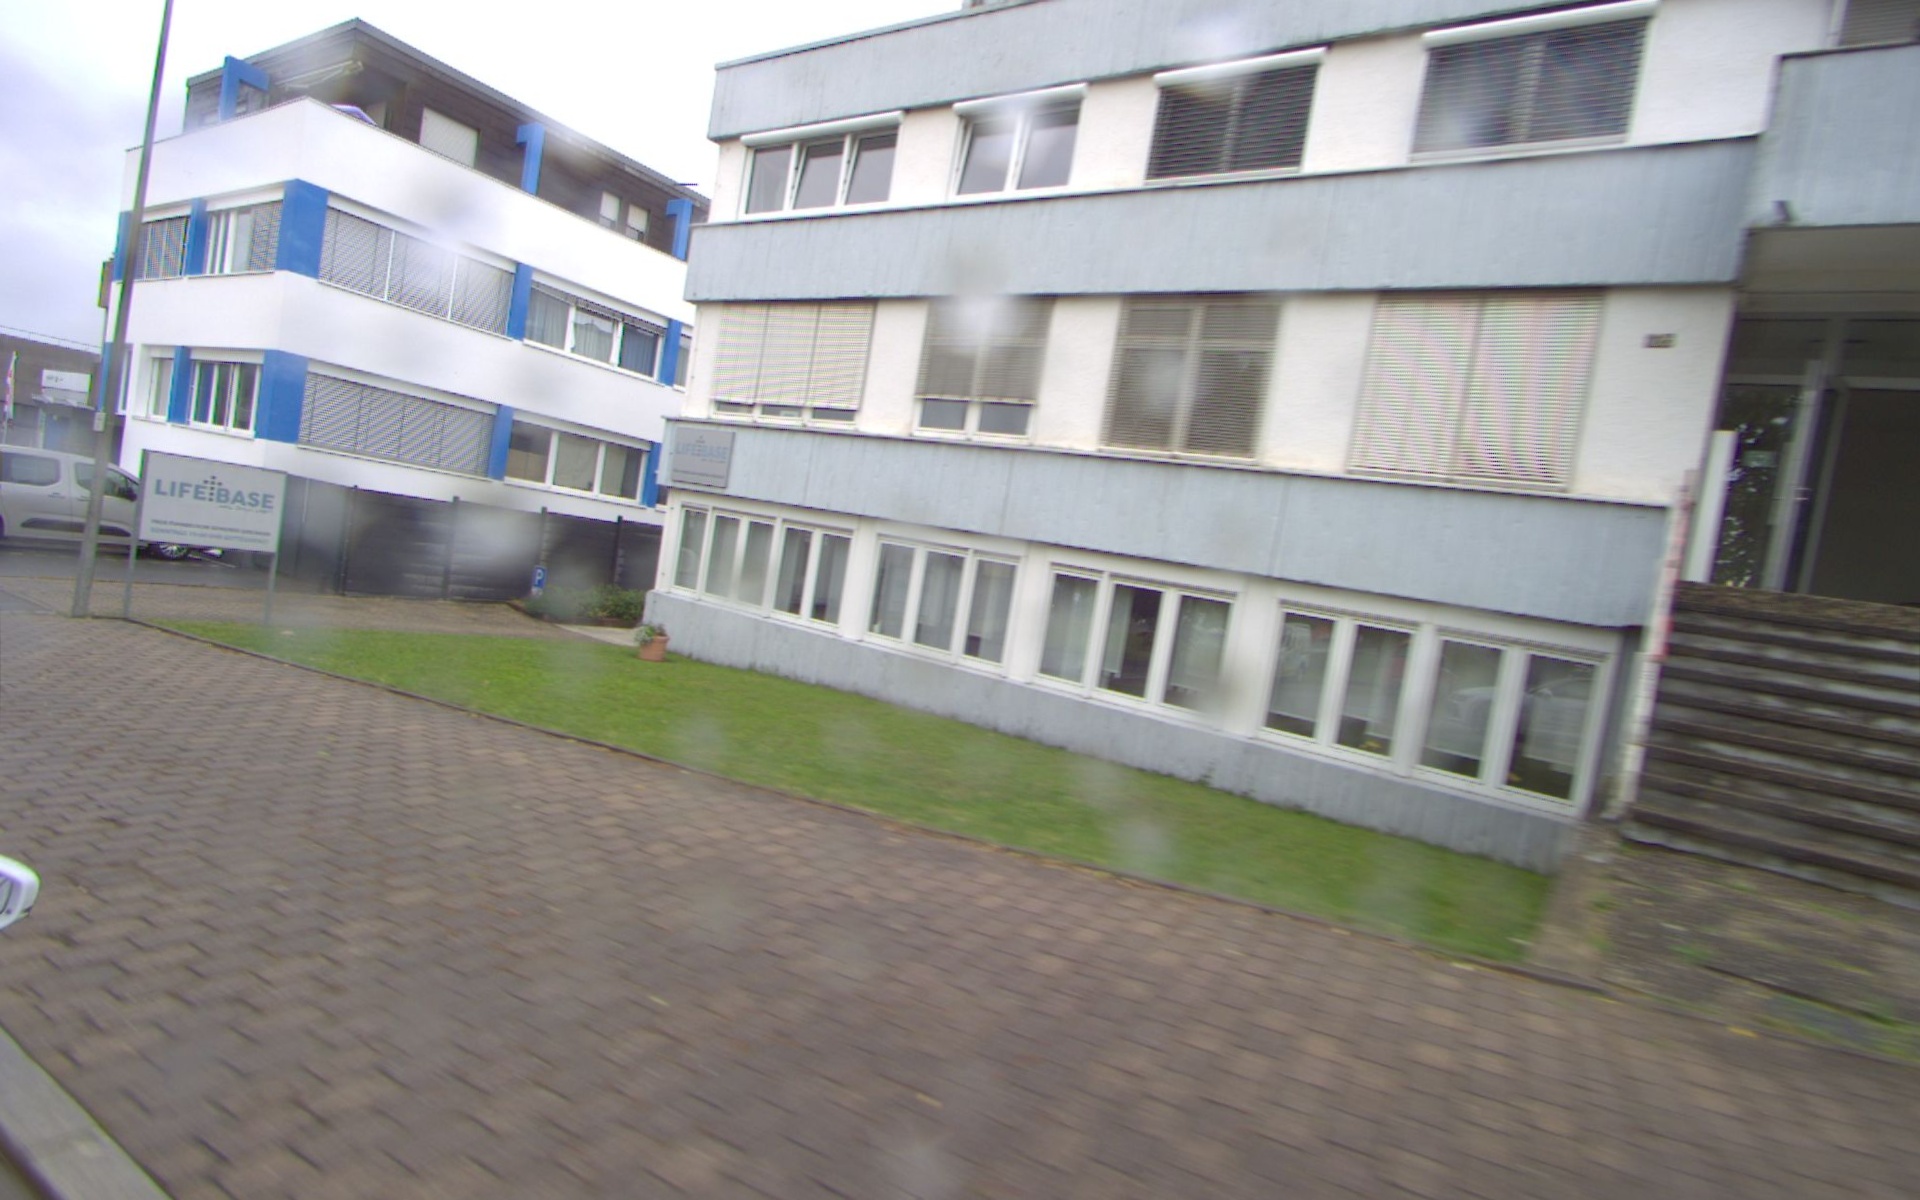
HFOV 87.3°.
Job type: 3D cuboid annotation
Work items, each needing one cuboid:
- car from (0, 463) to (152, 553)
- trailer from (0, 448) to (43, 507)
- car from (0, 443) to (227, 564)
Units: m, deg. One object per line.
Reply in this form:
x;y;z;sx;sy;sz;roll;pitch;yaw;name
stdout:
-19.210;-1.944;19.930;2.046;1.559;4.593;7;3;34;car
-44.269;-5.767;46.524;4.241;2.448;1.885;9;3;37;trailer
-16.490;-1.807;18.514;2.055;1.796;4.341;7;2;33;car
